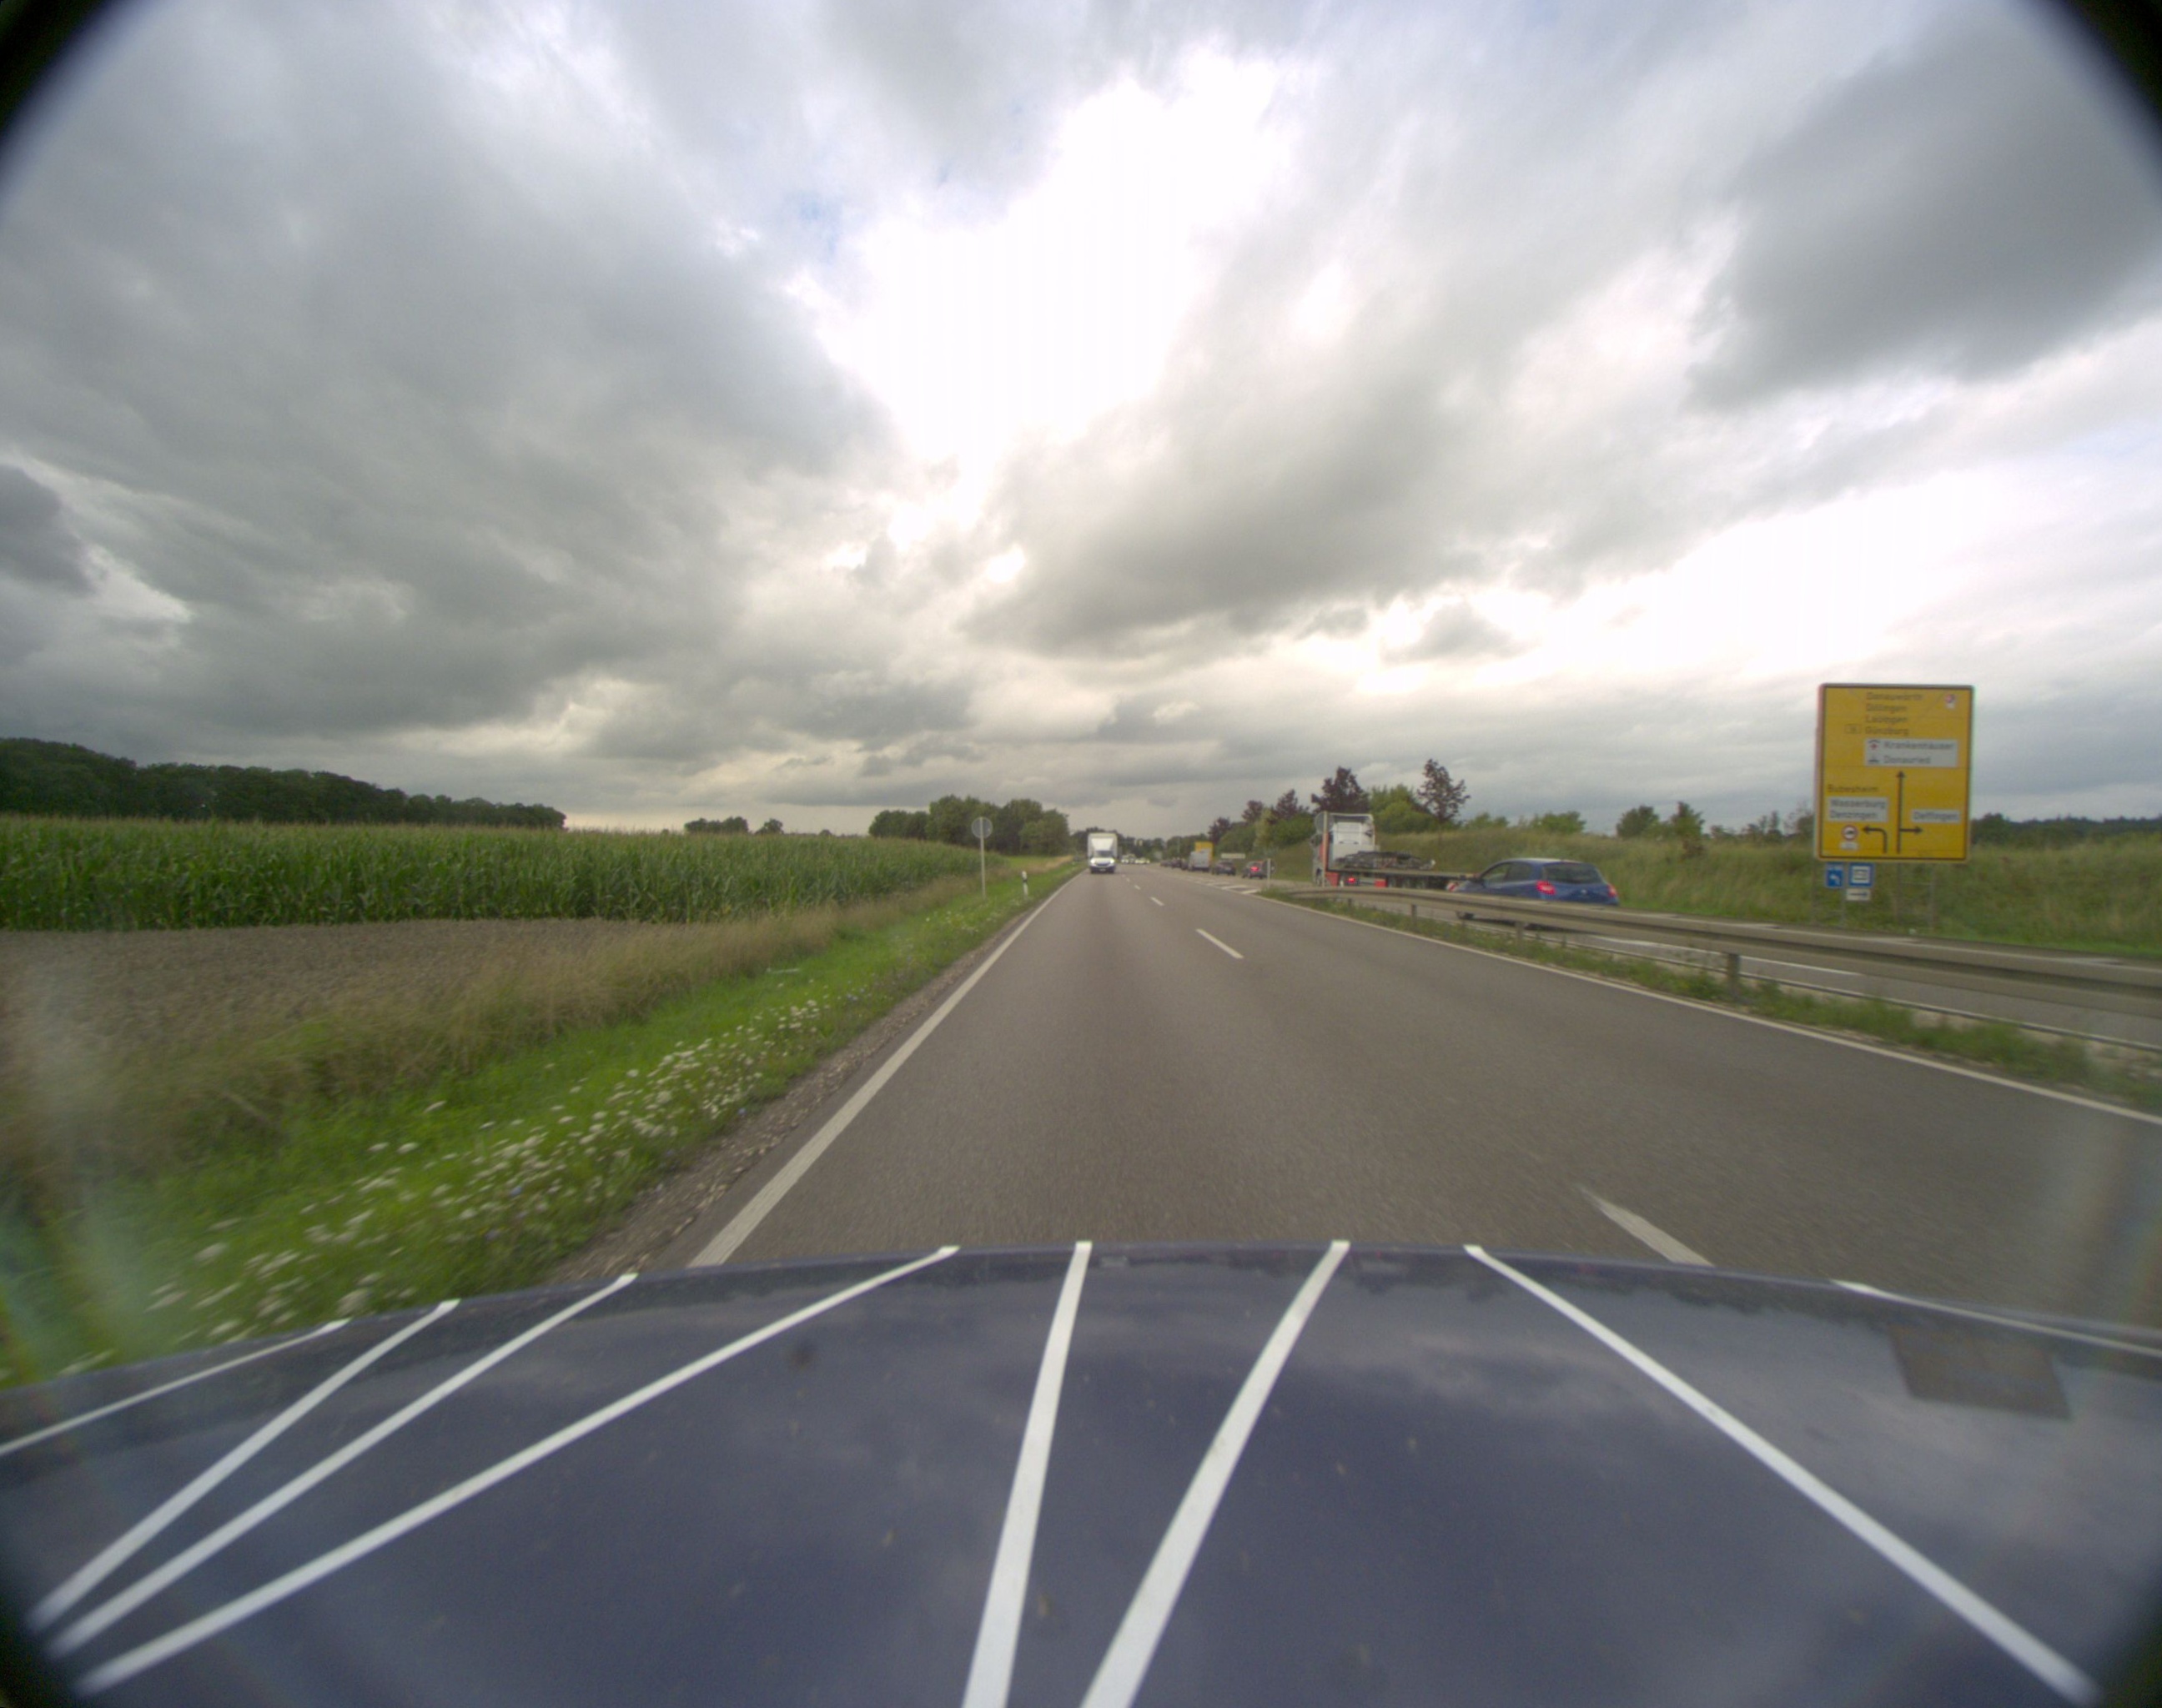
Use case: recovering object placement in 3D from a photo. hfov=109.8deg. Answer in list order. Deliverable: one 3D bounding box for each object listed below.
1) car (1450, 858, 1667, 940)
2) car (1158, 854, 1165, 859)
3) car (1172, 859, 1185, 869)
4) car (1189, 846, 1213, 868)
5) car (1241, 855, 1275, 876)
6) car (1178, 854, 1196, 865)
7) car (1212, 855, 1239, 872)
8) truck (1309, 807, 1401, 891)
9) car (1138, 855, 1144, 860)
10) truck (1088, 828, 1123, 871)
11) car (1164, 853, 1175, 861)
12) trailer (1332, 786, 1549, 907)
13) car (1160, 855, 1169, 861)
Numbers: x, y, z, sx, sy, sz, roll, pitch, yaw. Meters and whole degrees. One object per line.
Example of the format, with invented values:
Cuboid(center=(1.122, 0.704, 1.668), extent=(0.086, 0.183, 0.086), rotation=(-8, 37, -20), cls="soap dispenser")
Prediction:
Cuboid(center=(9.978, 0.856, 16.364), extent=(2.091, 1.510, 4.193), rotation=(0, 0, 1), cls="car")
Cuboid(center=(22.805, 0.650, 214.555), extent=(1.611, 1.406, 4.057), rotation=(1, 0, 3), cls="car")
Cuboid(center=(16.619, 1.632, 130.121), extent=(1.798, 1.624, 4.517), rotation=(3, 0, 3), cls="car")
Cuboid(center=(14.390, 0.385, 91.450), extent=(2.038, 2.425, 5.635), rotation=(2, 0, 0), cls="car")
Cuboid(center=(14.142, 0.898, 61.024), extent=(1.737, 1.521, 4.194), rotation=(2, 0, 0), cls="car")
Cuboid(center=(14.539, 0.736, 104.369), extent=(1.737, 1.521, 4.194), rotation=(2, 0, 0), cls="car")
Cuboid(center=(14.344, 0.917, 75.548), extent=(1.737, 1.521, 4.548), rotation=(2, 0, 0), cls="car")
Cuboid(center=(13.894, -0.235, 38.995), extent=(2.810, 3.974, 5.286), rotation=(0, 0, 0), cls="truck")
Cuboid(center=(17.783, 0.960, 224.536), extent=(1.859, 1.274, 4.002), rotation=(2, 0, 5), cls="car")
Cuboid(center=(2.101, -0.370, 68.056), extent=(2.934, 3.652, 8.443), rotation=(0, 0, 1), cls="truck")
Cuboid(center=(18.327, 0.652, 157.065), extent=(1.798, 1.502, 4.706), rotation=(3, 0, 3), cls="car")
Cuboid(center=(13.884, -0.222, 31.295), extent=(2.782, 3.924, 12.985), rotation=(0, 0, 0), cls="trailer")
Cuboid(center=(20.111, 1.044, 182.968), extent=(1.798, 1.397, 4.706), rotation=(3, 0, 3), cls="car")
